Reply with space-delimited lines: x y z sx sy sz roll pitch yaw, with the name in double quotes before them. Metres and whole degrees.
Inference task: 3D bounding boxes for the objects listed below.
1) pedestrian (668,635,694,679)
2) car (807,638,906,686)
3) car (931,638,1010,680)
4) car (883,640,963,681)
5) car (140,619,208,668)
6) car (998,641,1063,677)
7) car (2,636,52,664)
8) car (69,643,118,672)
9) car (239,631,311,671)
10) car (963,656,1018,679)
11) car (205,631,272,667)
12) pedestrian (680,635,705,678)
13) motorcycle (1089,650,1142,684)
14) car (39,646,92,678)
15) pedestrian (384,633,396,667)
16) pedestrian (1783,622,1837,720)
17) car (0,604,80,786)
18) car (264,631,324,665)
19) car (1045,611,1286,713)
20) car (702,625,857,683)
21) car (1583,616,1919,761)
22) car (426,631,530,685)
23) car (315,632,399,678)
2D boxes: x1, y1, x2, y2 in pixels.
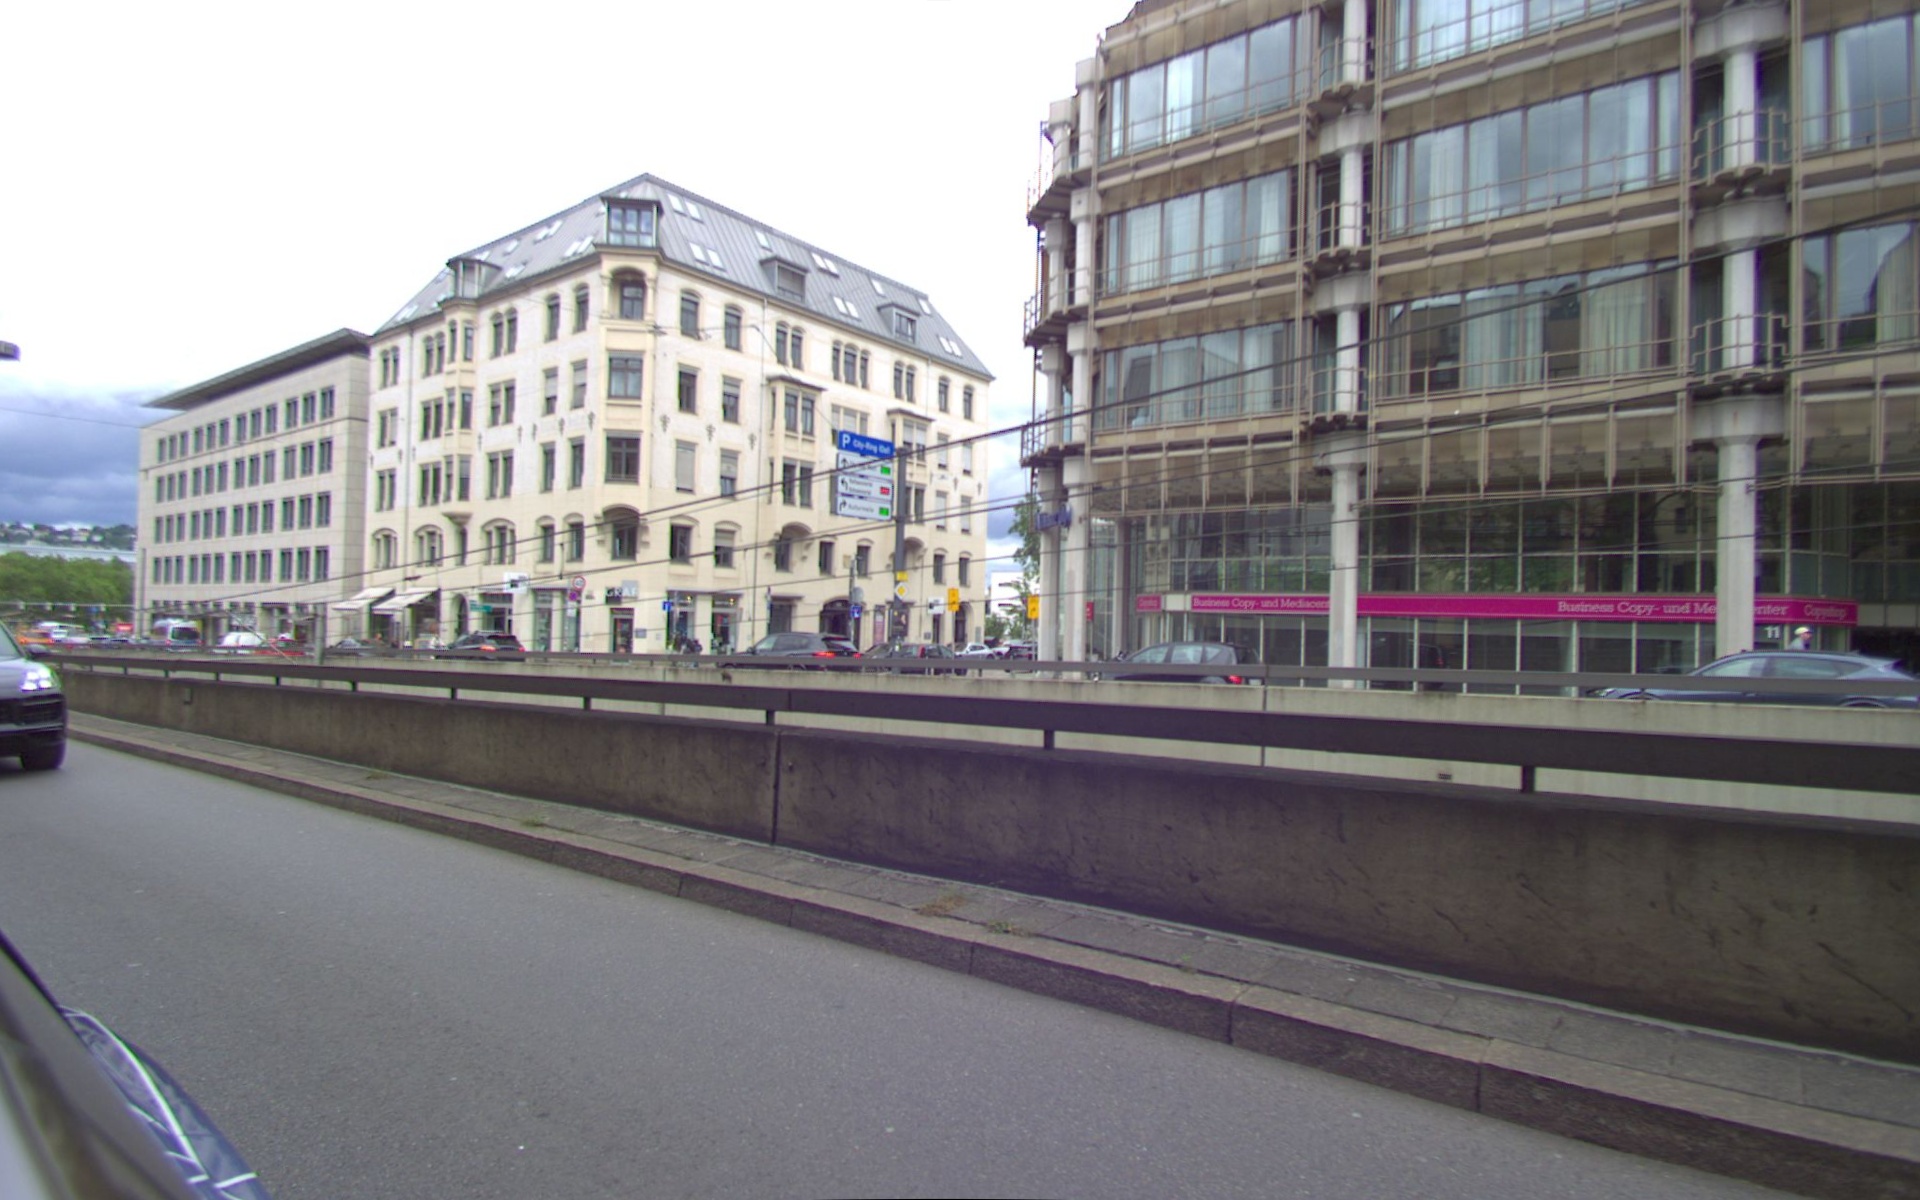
"pedestrian" -11.107 2.274 40.279 0.684 1.724 0.705 -2 -3 27
"car" -3.718 2.222 36.935 1.646 1.674 3.606 -1 -3 35
"car" 0.478 2.448 42.317 1.646 1.674 3.557 -1 -3 35
"car" -1.572 2.578 43.512 1.646 1.674 3.557 -1 -3 35
"car" -52.167 2.818 67.150 5.462 3.084 2.341 -1 -1 39
"car" 3.502 2.885 49.955 1.646 1.674 3.557 -1 -3 35
"car" -71.818 3.836 77.900 4.784 2.029 2.089 -1 -1 38
"car" -65.358 4.325 76.297 4.784 2.029 1.974 -1 -1 39
"car" -37.722 2.749 55.670 4.784 2.029 1.974 -1 -1 39
"car" 1.780 3.853 58.195 1.644 1.243 3.562 -1 -3 31
"car" -42.523 2.850 59.599 4.784 2.029 1.974 -1 -1 39
"pedestrian" -10.834 2.281 41.013 0.684 1.724 0.705 -2 -3 27
"motorcycle" 5.244 2.247 34.153 1.659 1.083 0.640 -1 -1 19
"car" -62.061 4.281 70.188 4.784 2.029 1.974 -1 -1 39
"pedestrian" -30.376 2.647 53.940 0.502 1.793 0.579 1 -2 -28
"pedestrian" 16.176 1.334 19.266 0.739 1.806 0.723 -1 -1 39
"car" -11.250 0.950 10.657 5.345 1.688 2.063 -2 -2 38
"car" -41.731 2.982 63.394 3.995 2.029 1.974 -2 -3 38
"car" 4.380 1.291 21.993 4.783 1.978 1.975 -2 -3 37
"car" -5.301 1.542 29.454 4.635 1.572 1.796 -1 -3 37
"car" 12.304 1.231 15.643 4.373 1.929 1.974 0 0 39
"car" -19.684 2.310 41.243 4.784 2.029 1.974 -1 -1 39
"car" -29.253 2.611 49.041 4.784 2.029 1.974 -1 -1 39
